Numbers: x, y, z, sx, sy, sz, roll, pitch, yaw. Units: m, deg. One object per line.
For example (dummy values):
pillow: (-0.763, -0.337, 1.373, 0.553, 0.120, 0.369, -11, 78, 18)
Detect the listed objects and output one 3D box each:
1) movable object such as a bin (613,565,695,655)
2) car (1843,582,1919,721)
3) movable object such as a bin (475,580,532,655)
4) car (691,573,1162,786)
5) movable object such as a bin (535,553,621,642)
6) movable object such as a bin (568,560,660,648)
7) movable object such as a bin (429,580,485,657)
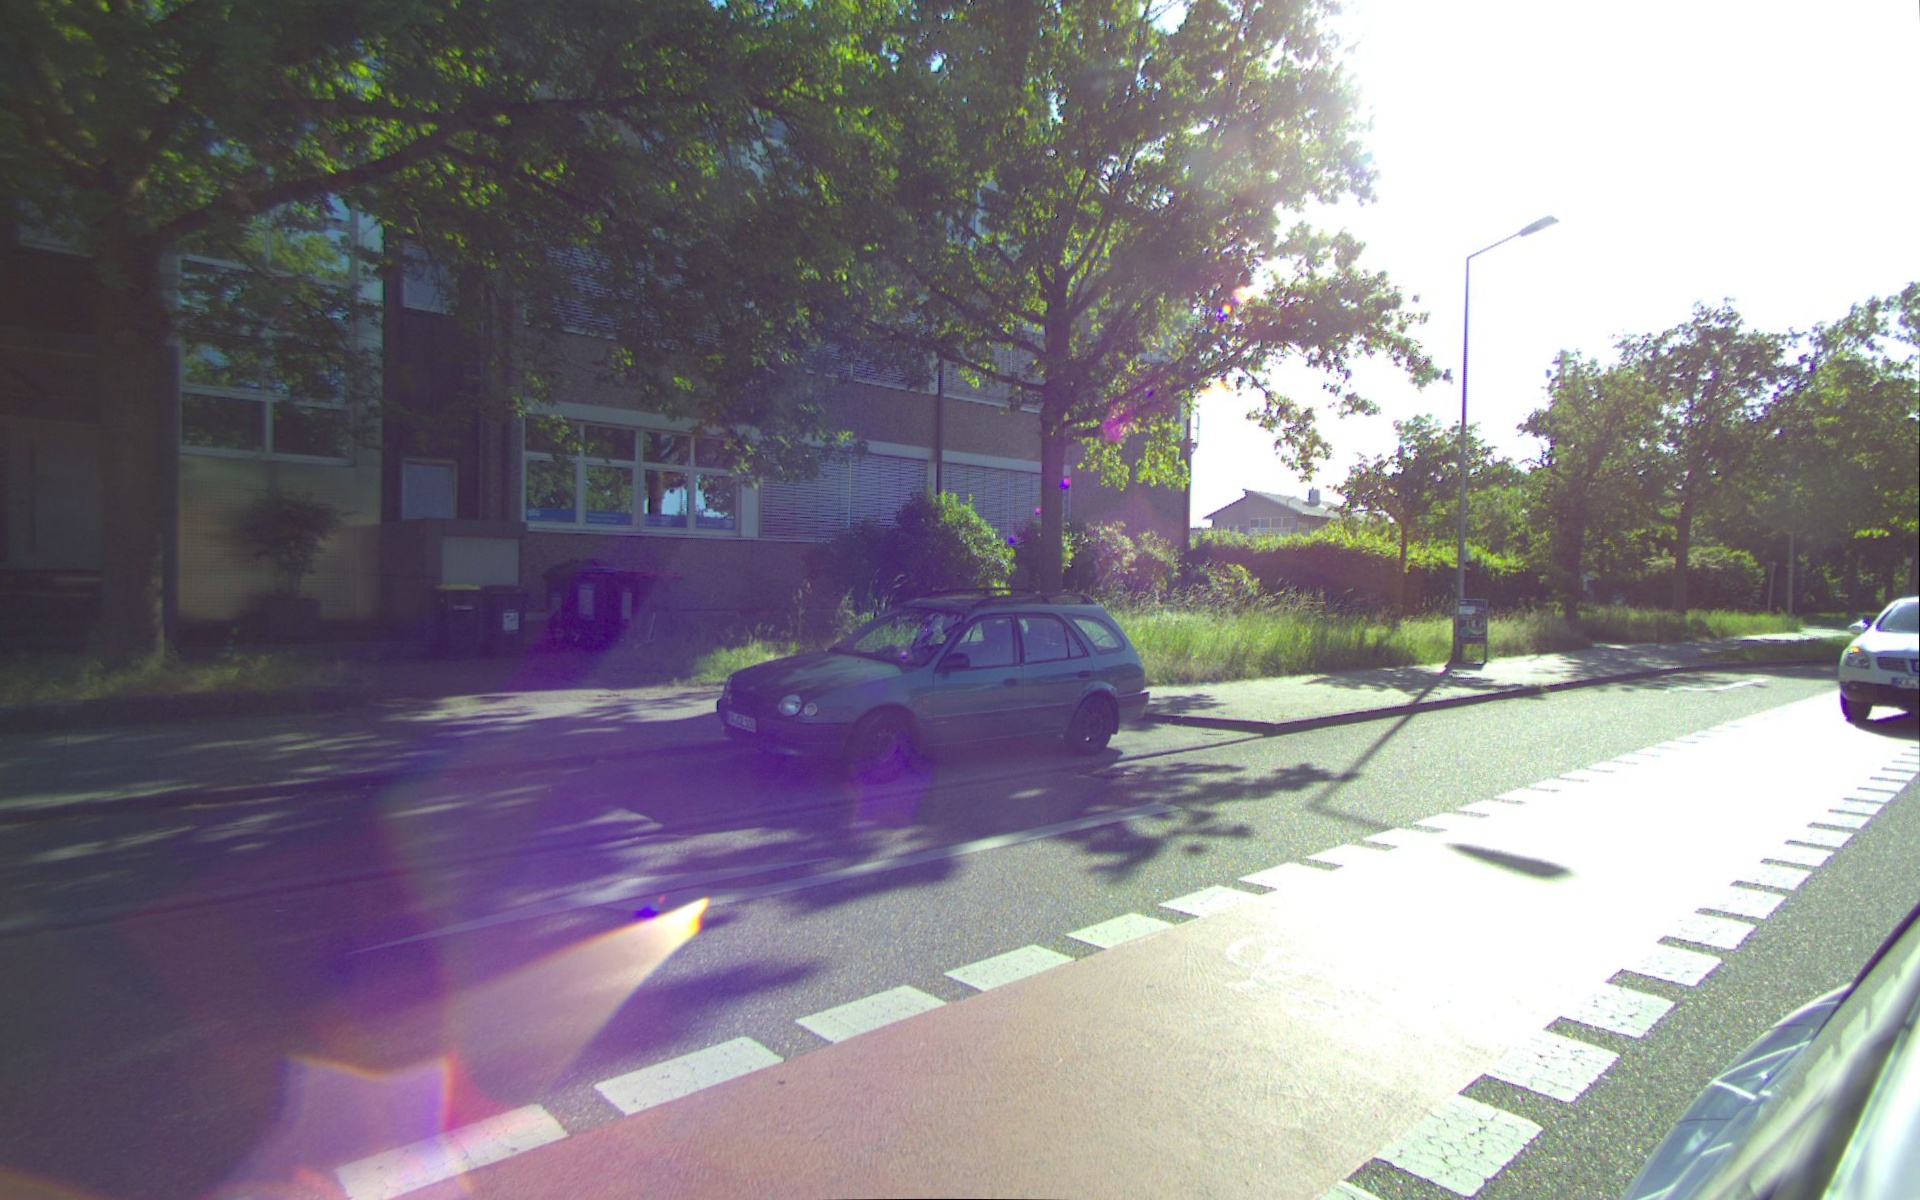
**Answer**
movable object such as a bin: (-4.776, 0.128, 15.767, 0.878, 1.323, 1.186, 0, 2, -37)
car: (13.004, 0.609, 12.902, 3.990, 1.628, 1.723, 0, 0, -35)
movable object such as a bin: (-6.754, 0.243, 14.971, 0.604, 1.075, 0.634, 0, 1, -42)
car: (-0.141, 0.575, 9.125, 4.068, 1.487, 1.705, 1, 1, -41)
movable object such as a bin: (-6.775, -0.070, 17.935, 1.024, 1.501, 1.309, 0, 2, -41)
movable object such as a bin: (-5.766, 0.046, 16.854, 1.070, 1.388, 1.186, 0, 2, -43)
movable object such as a bin: (-7.210, 0.248, 14.491, 0.575, 1.070, 0.625, 0, 1, -42)
